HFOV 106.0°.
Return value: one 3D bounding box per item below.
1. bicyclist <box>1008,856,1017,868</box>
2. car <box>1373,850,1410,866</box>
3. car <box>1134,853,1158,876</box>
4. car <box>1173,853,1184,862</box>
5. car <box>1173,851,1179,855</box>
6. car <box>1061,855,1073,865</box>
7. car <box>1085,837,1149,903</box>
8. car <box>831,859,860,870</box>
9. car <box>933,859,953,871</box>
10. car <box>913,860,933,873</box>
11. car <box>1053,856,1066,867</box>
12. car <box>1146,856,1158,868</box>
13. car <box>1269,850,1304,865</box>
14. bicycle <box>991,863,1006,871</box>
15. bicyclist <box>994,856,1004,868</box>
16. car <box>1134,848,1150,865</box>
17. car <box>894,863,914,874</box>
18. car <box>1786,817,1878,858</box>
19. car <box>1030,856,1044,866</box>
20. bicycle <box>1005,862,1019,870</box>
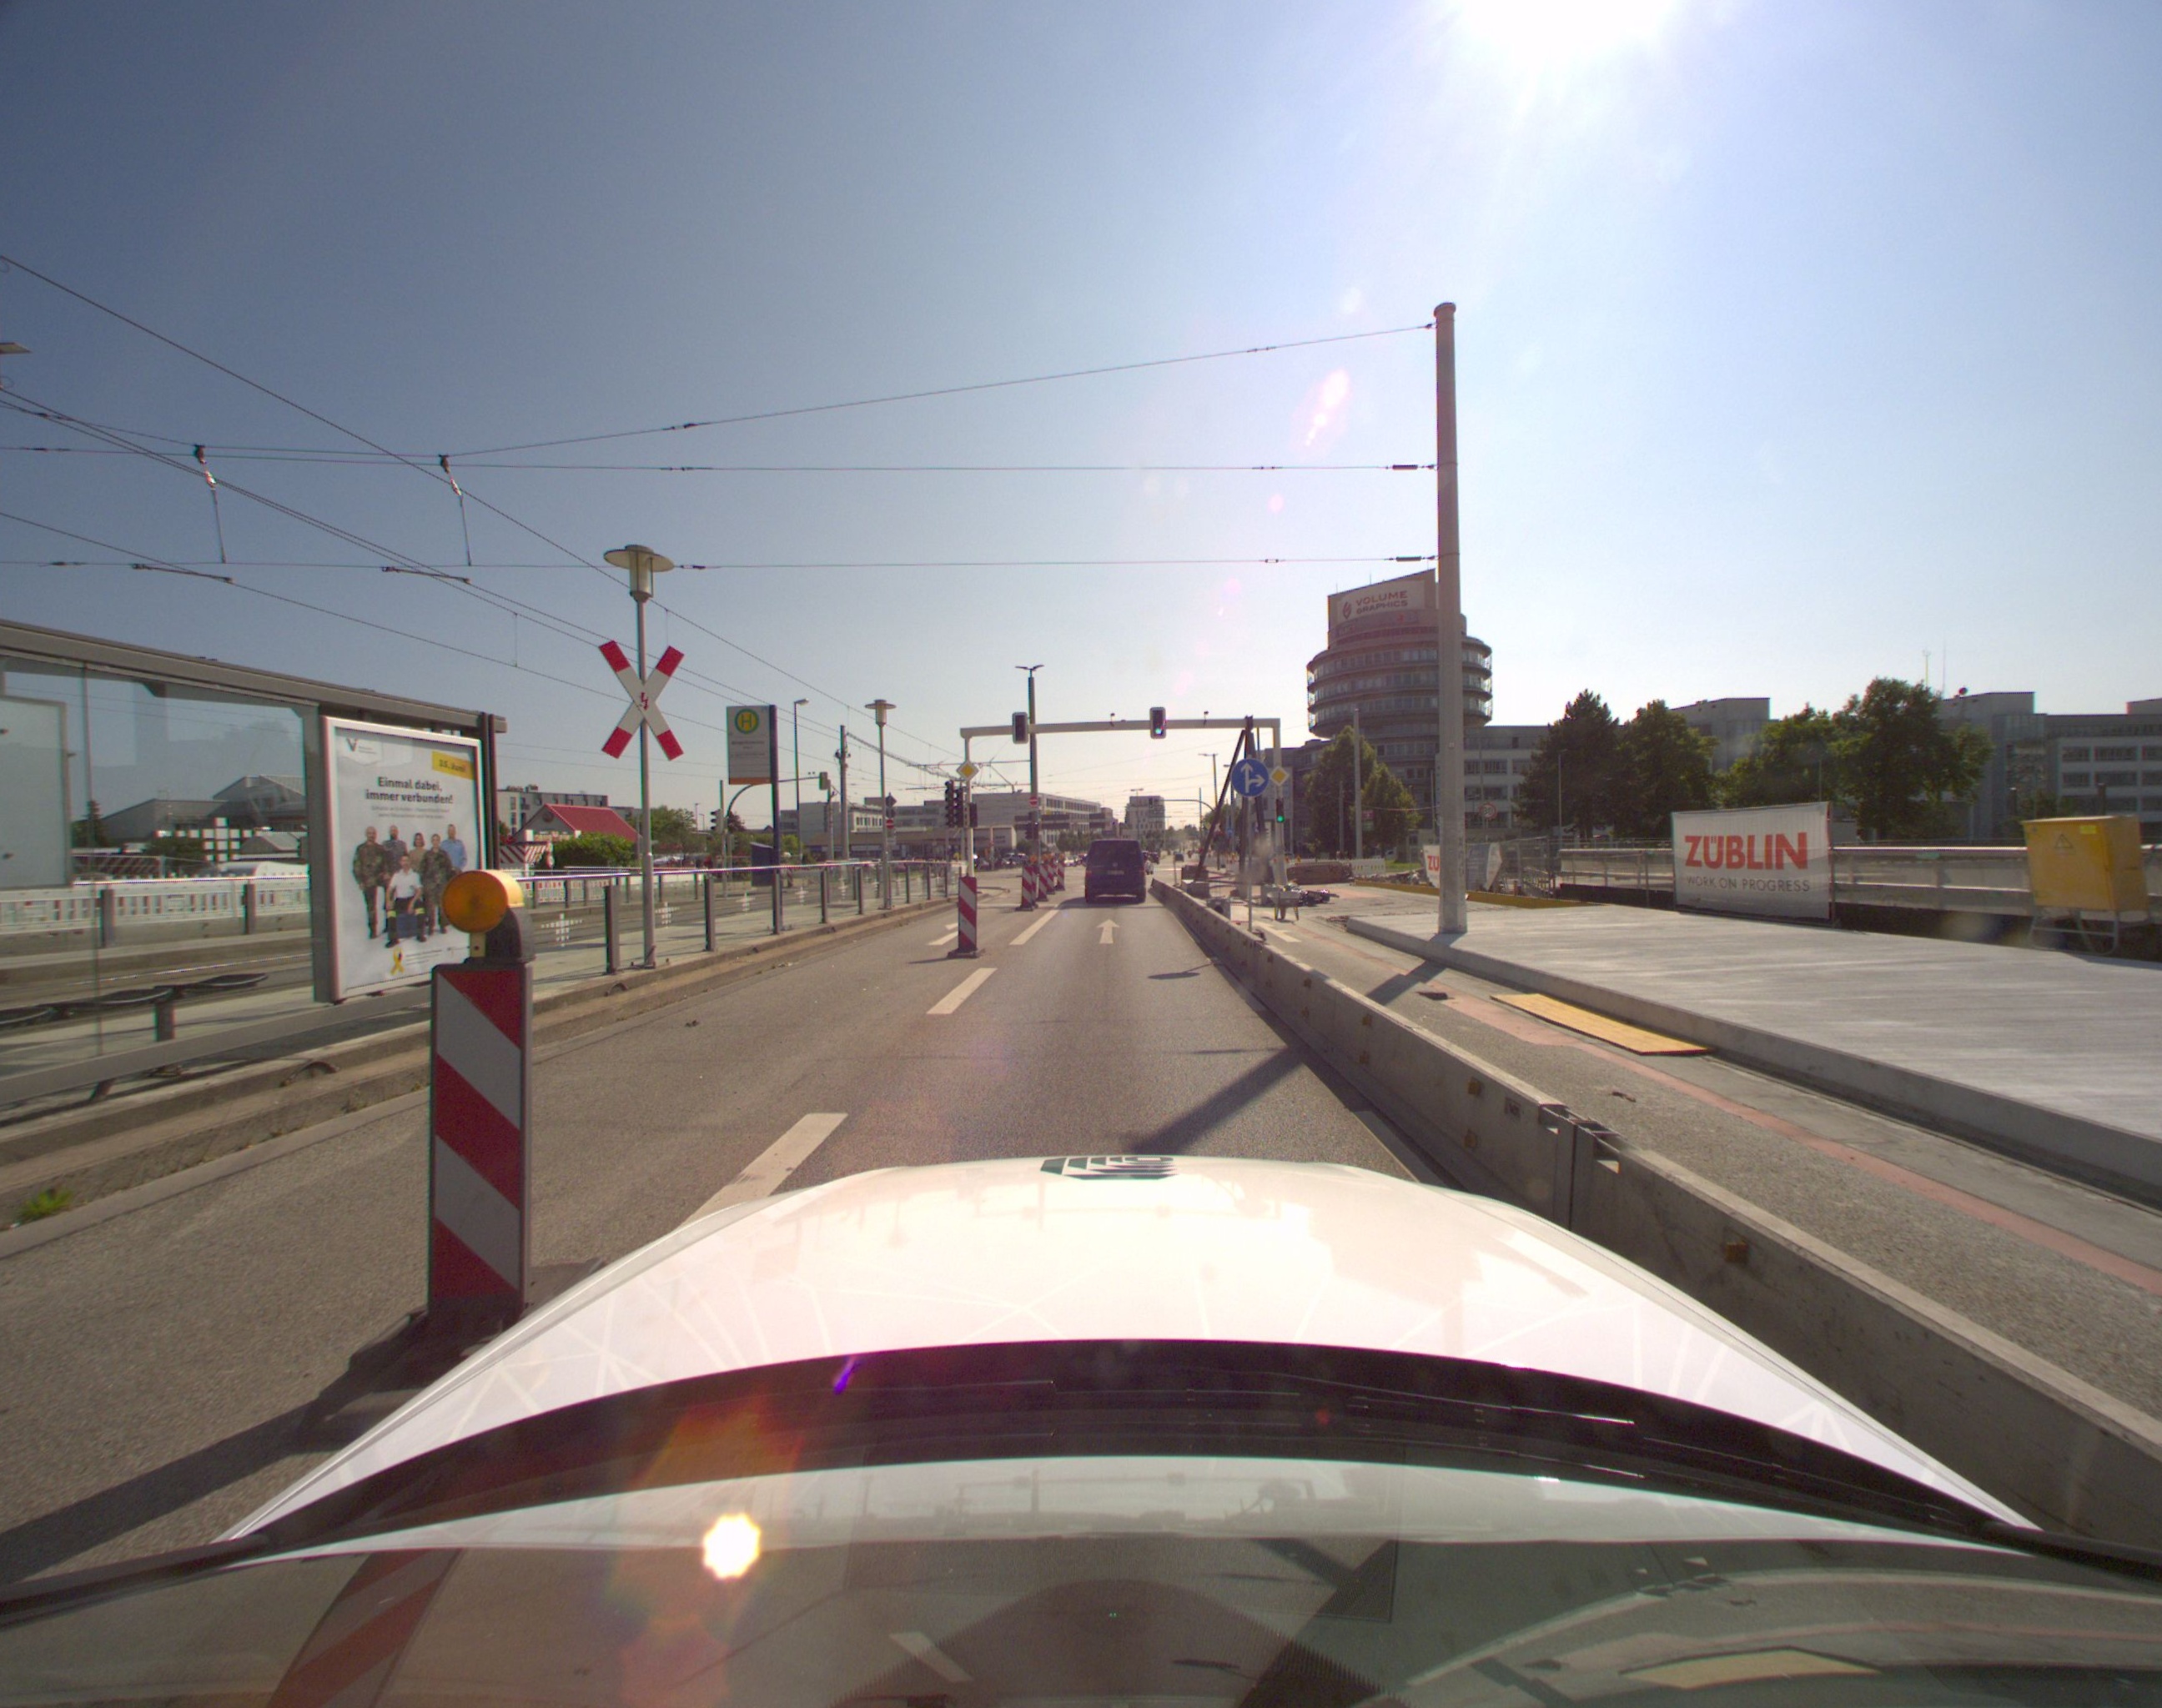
[{"bbox_3d":[-9.175,1.066,108.812,0.869,1.578,0.973,3,0,16],"label":"bicyclist"},{"bbox_3d":[36.653,0.433,96.143,3.799,1.797,1.682,0,1,1],"label":"car"},{"bbox_3d":[4.788,0.754,60.424,1.677,1.606,3.619,0,1,3],"label":"car"},{"bbox_3d":[17.093,0.588,142.610,1.734,1.475,3.893,-1,0,8],"label":"car"},{"bbox_3d":[28.943,-0.224,247.976,1.542,1.340,3.016,0,0,1],"label":"car"},{"bbox_3d":[-2.136,0.931,124.684,1.741,1.486,4.000,-2,0,0],"label":"car"},{"bbox_3d":[1.201,0.431,26.096,1.880,1.934,4.005,0,1,4],"label":"car"},{"bbox_3d":[-37.180,1.631,128.751,4.021,1.538,1.762,-3,0,-40],"label":"car"},{"bbox_3d":[-18.980,1.541,112.165,1.770,1.538,4.003,-1,0,3],"label":"car"},{"bbox_3d":[-21.462,1.707,110.857,1.770,1.538,4.003,-3,0,3],"label":"car"},{"bbox_3d":[-3.055,1.047,118.544,1.741,1.481,4.000,-2,0,0],"label":"car"},{"bbox_3d":[10.347,1.172,118.512,1.638,1.727,3.721,0,1,4],"label":"car"},{"bbox_3d":[24.467,0.417,97.026,3.799,1.797,1.682,0,1,1],"label":"car"},{"bbox_3d":[-10.718,1.699,106.149,0.874,1.069,2.819,3,0,17],"label":"bicycle"},{"bbox_3d":[-10.703,1.040,106.098,0.869,1.578,0.973,3,0,16],"label":"bicyclist"},{"bbox_3d":[6.402,0.200,85.797,1.638,1.727,4.005,0,1,4],"label":"car"},{"bbox_3d":[-26.280,2.103,121.012,1.770,1.538,4.003,-1,0,3],"label":"car"},{"bbox_3d":[55.314,-1.222,59.971,5.965,2.886,2.333,0,1,-18],"label":"car"},{"bbox_3d":[-6.441,1.015,119.049,1.741,1.486,4.000,-2,0,0],"label":"car"},{"bbox_3d":[-9.225,1.610,108.783,0.874,1.069,2.819,3,0,17],"label":"bicycle"}]
